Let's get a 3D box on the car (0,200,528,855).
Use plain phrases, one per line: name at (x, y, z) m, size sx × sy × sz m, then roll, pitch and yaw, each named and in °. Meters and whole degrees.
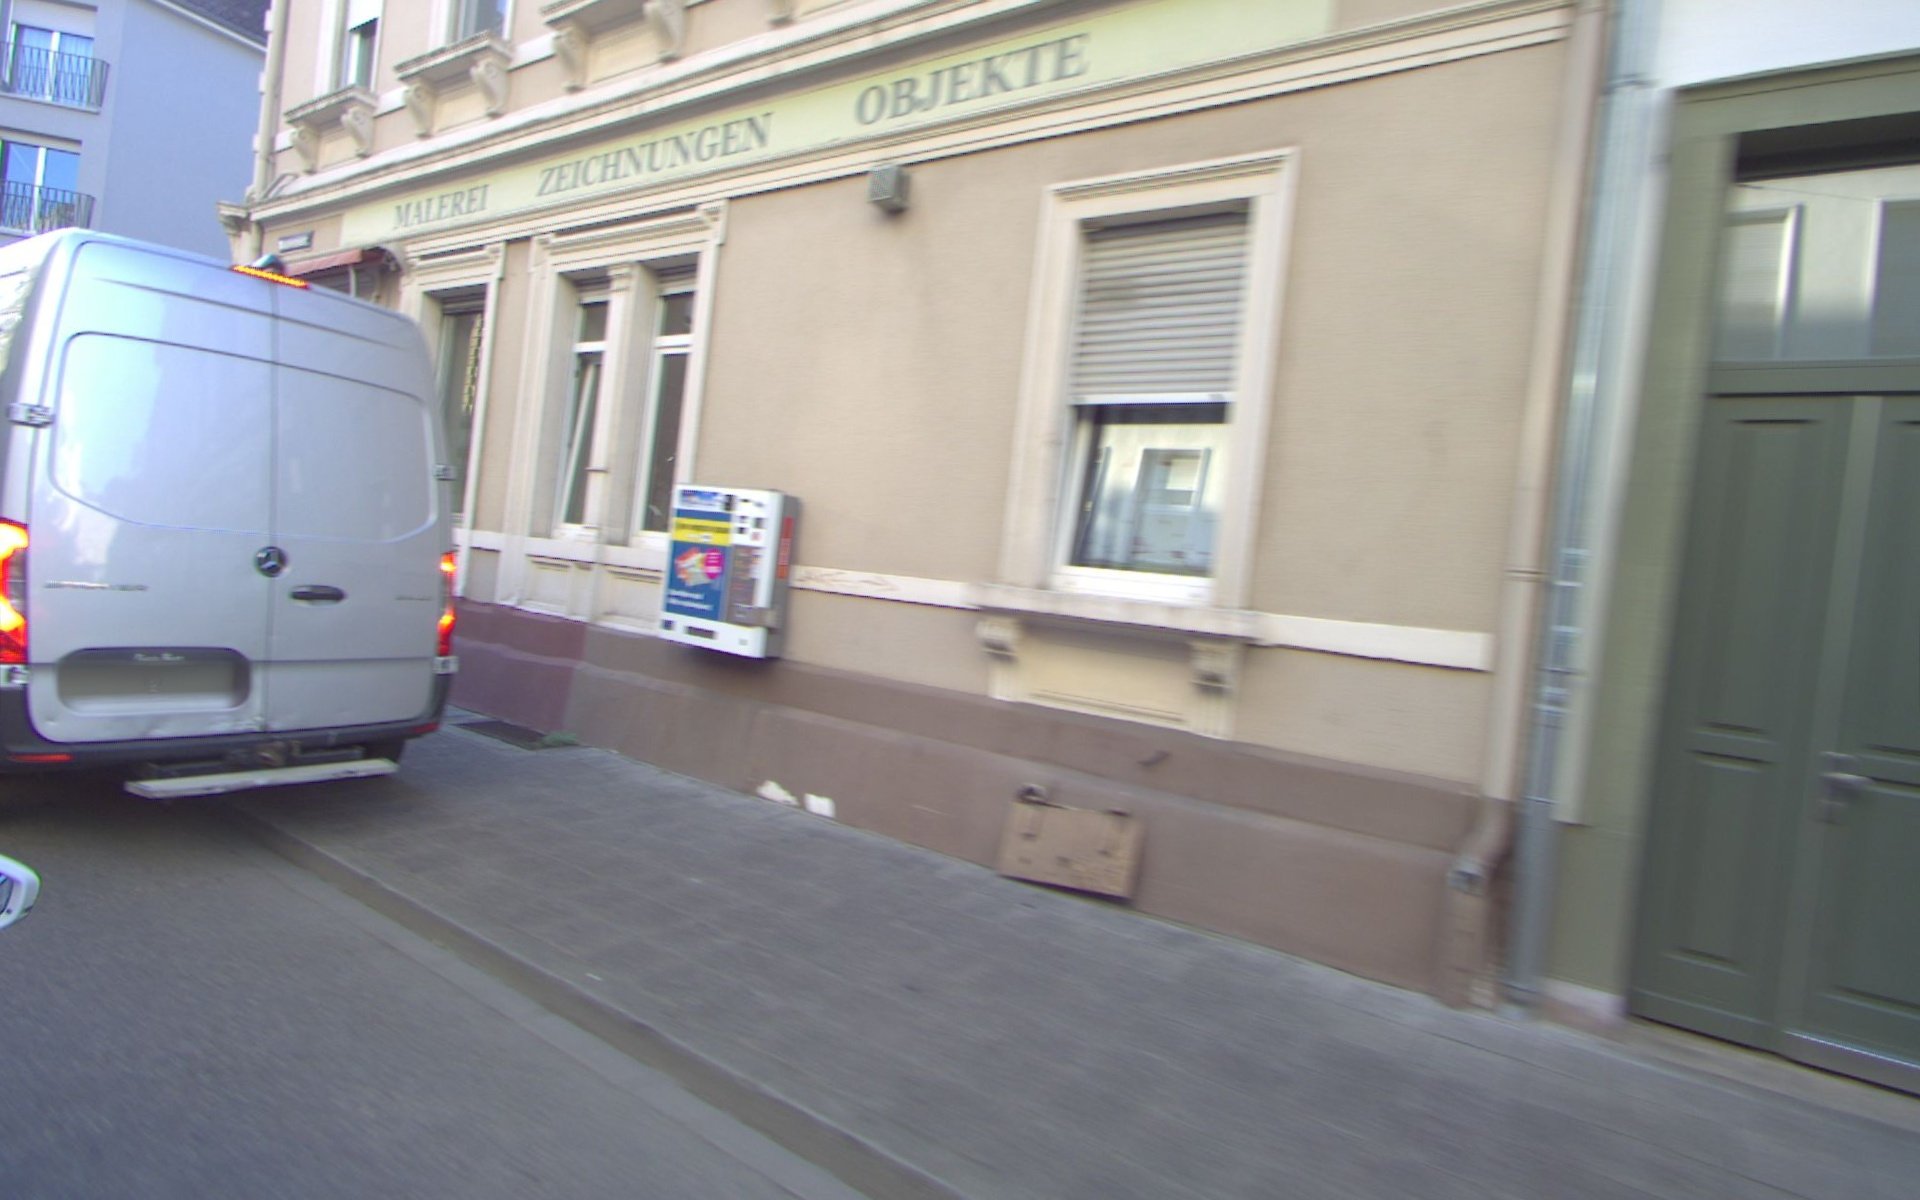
car at (-5.593, -0.449, 6.335) m, size 6.107 × 2.469 × 2.278 m, roll 7°, pitch 0°, yaw 36°
